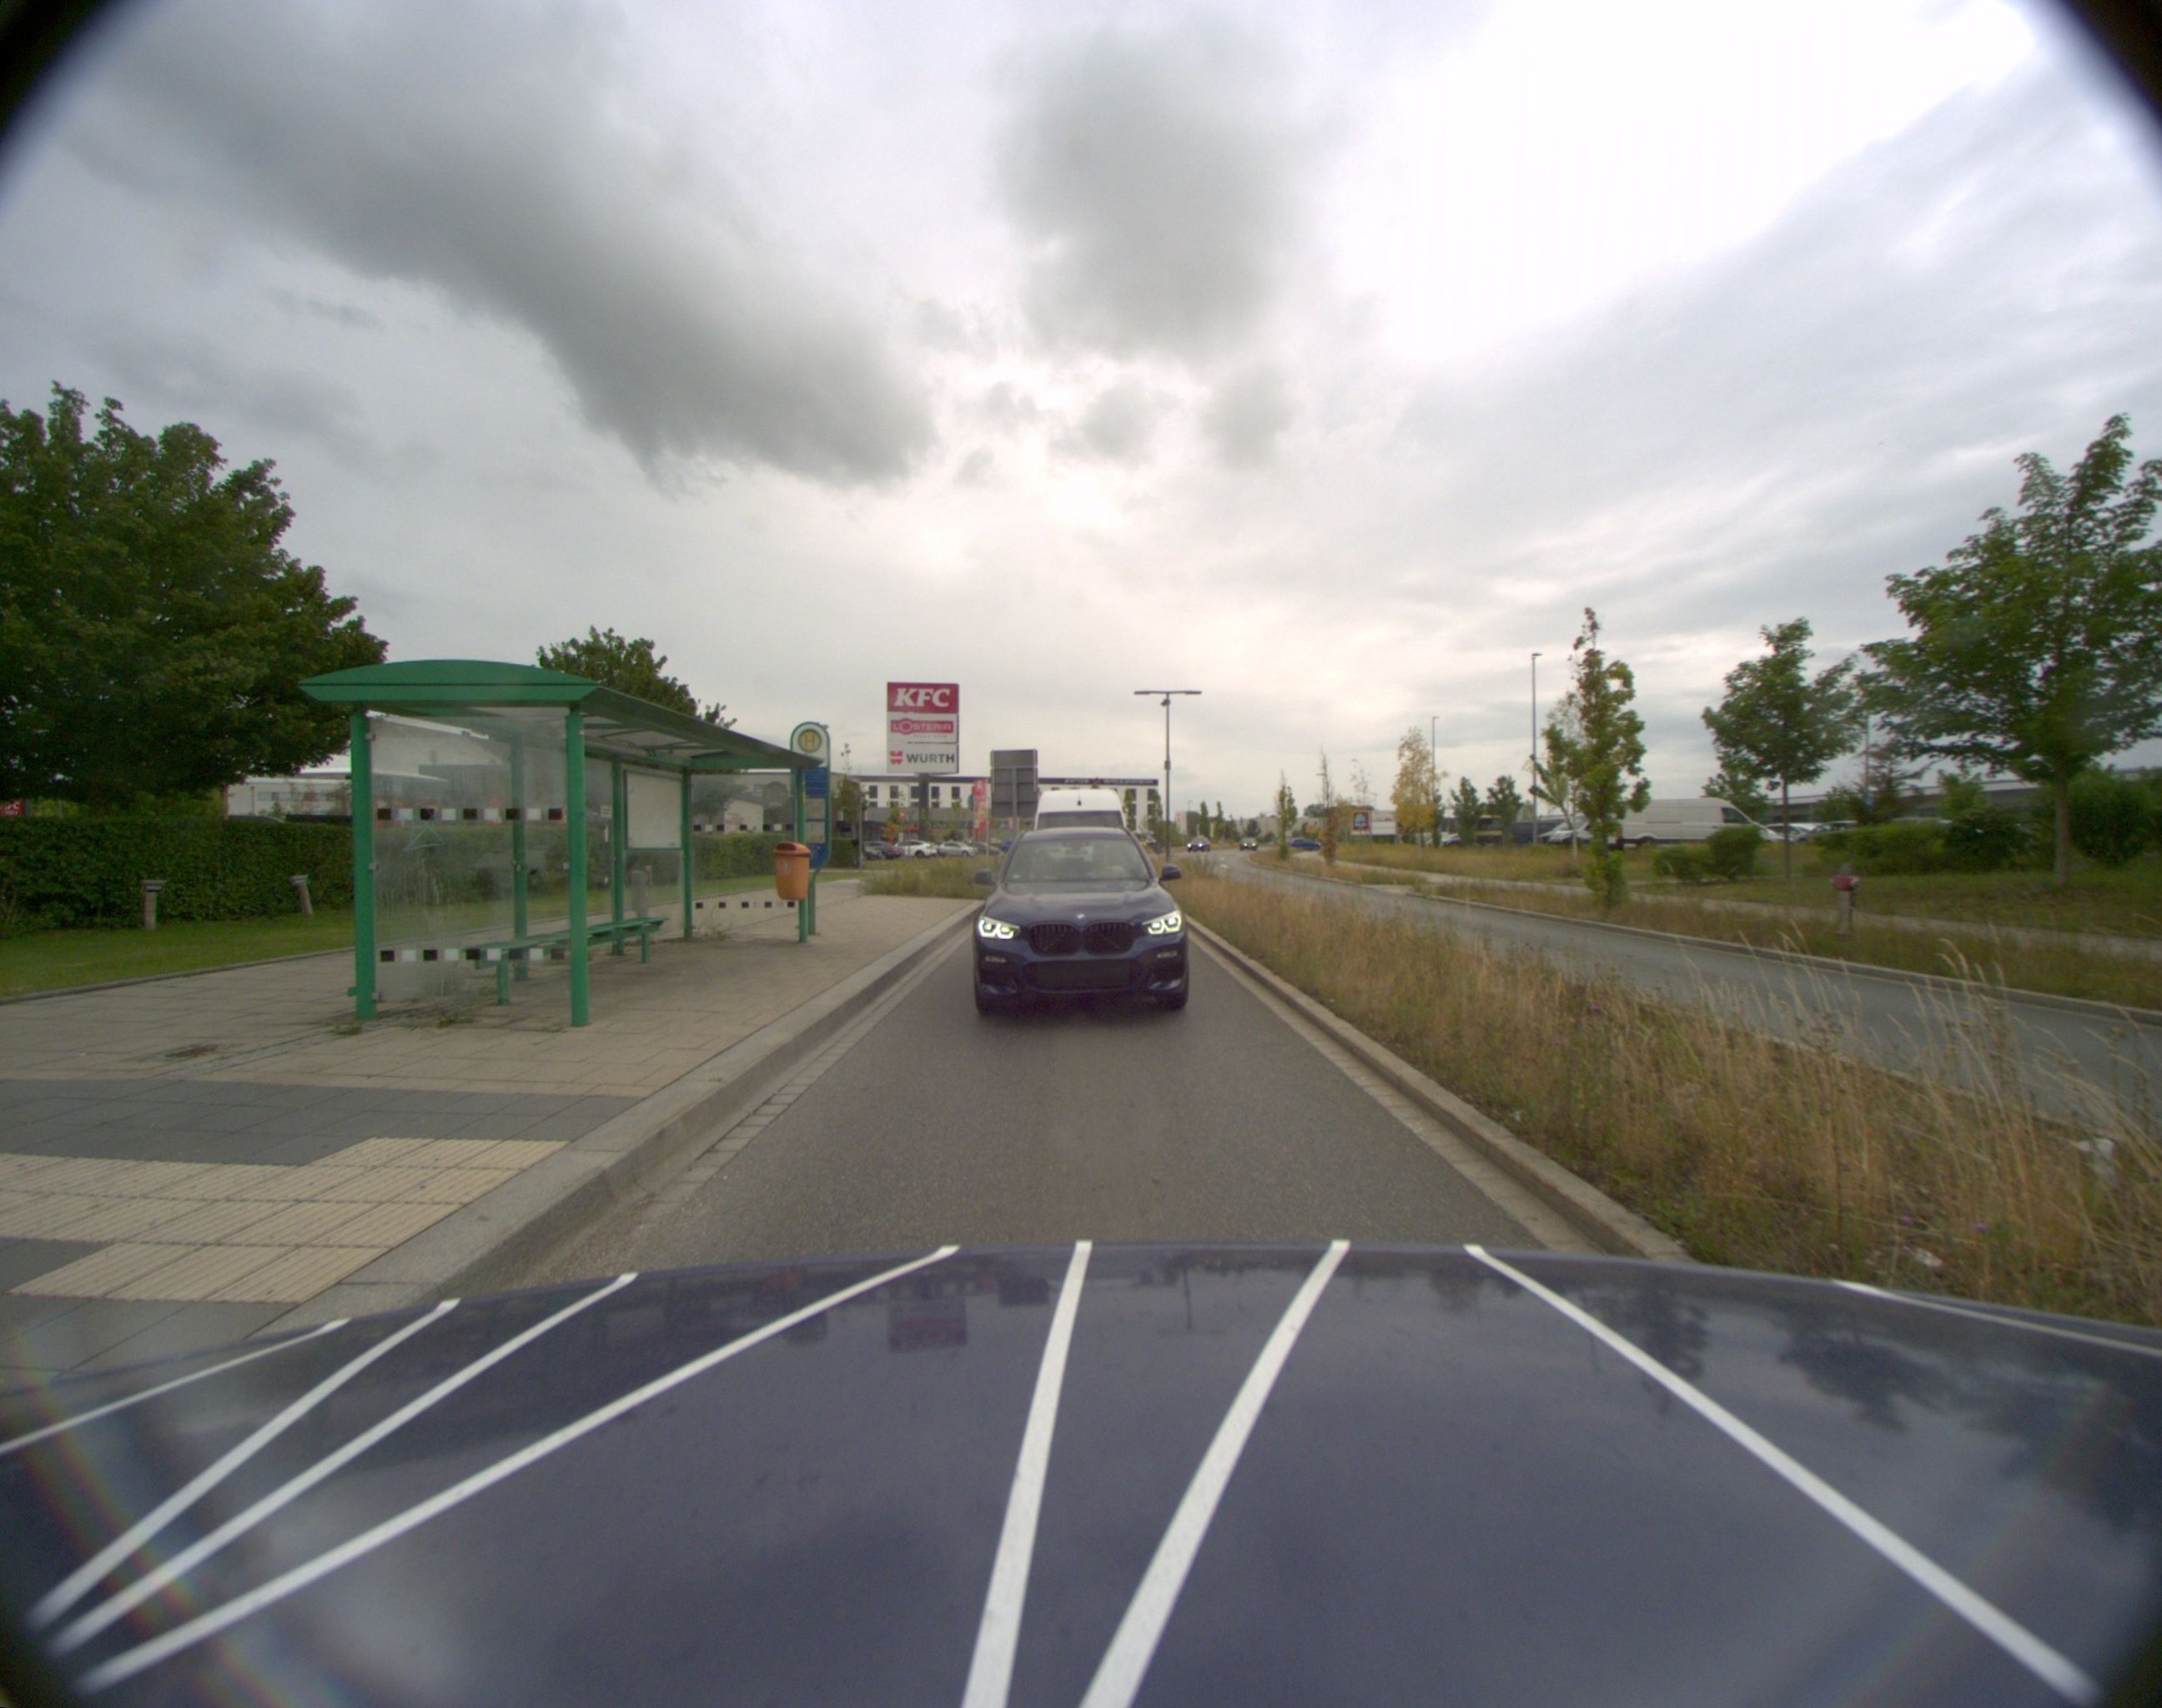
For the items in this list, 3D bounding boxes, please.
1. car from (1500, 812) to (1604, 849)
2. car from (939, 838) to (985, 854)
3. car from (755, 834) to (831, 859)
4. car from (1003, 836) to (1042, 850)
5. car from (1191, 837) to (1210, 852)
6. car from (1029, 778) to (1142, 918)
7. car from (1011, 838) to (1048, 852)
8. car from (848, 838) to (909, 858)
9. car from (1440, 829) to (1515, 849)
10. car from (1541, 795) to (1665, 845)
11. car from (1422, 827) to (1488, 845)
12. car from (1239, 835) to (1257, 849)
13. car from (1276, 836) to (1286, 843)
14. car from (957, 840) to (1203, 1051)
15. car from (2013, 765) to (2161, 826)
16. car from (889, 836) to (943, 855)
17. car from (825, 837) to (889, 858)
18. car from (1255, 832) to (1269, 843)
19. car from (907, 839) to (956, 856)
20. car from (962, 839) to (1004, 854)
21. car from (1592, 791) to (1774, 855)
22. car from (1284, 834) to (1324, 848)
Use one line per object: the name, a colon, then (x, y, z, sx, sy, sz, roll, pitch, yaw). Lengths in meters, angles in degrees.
car: (29.114, -1.460, 47.129, 5.050, 2.211, 2.065, 0, 1, 7)
car: (-11.611, -0.764, 74.121, 3.993, 1.477, 1.849, 0, 1, 13)
car: (-17.923, -0.476, 47.334, 3.997, 1.519, 1.847, 0, 1, 1)
car: (-6.778, -1.297, 87.828, 3.992, 1.478, 1.849, -1, 2, 17)
car: (13.874, -1.096, 88.262, 1.997, 1.565, 4.002, -2, 2, 11)
car: (0.053, -0.165, 16.817, 2.026, 2.513, 6.103, 0, 1, -1)
car: (-6.102, -1.057, 90.384, 3.992, 1.478, 1.849, -1, 2, 17)
car: (-15.275, -0.439, 57.475, 3.994, 1.477, 1.848, 0, 1, 8)
car: (32.445, -1.215, 62.283, 5.049, 1.647, 2.066, 0, 1, 10)
car: (27.082, -1.765, 39.537, 5.053, 2.360, 2.064, -2, 2, 0)
car: (34.186, -1.648, 69.504, 5.049, 1.647, 2.066, 0, 1, 10)
car: (20.774, -1.523, 94.439, 1.997, 1.565, 4.002, -2, 2, 11)
car: (42.389, -3.159, 161.063, 1.732, 1.484, 4.003, 0, 1, 12)
car: (-0.022, 0.666, 7.806, 1.867, 1.599, 3.999, 0, 1, -1)
car: (42.939, -2.381, 31.558, 2.064, 2.360, 5.054, -2, 2, -4)
car: (-13.964, -0.714, 64.345, 3.994, 1.513, 1.848, 0, 1, 8)
car: (-16.138, -0.456, 54.823, 3.994, 1.477, 1.848, 0, 1, 8)
car: (28.647, -2.646, 120.522, 1.997, 1.565, 4.002, -2, 2, 11)
car: (-13.676, -0.620, 69.595, 3.994, 1.477, 1.848, 0, 1, 8)
car: (-10.139, -0.794, 78.754, 3.993, 1.477, 1.849, 0, 1, 13)
car: (27.182, -1.382, 34.503, 6.413, 2.609, 2.064, -2, 2, 4)
car: (25.452, -1.499, 86.647, 4.001, 1.504, 1.732, -1, 1, -11)
